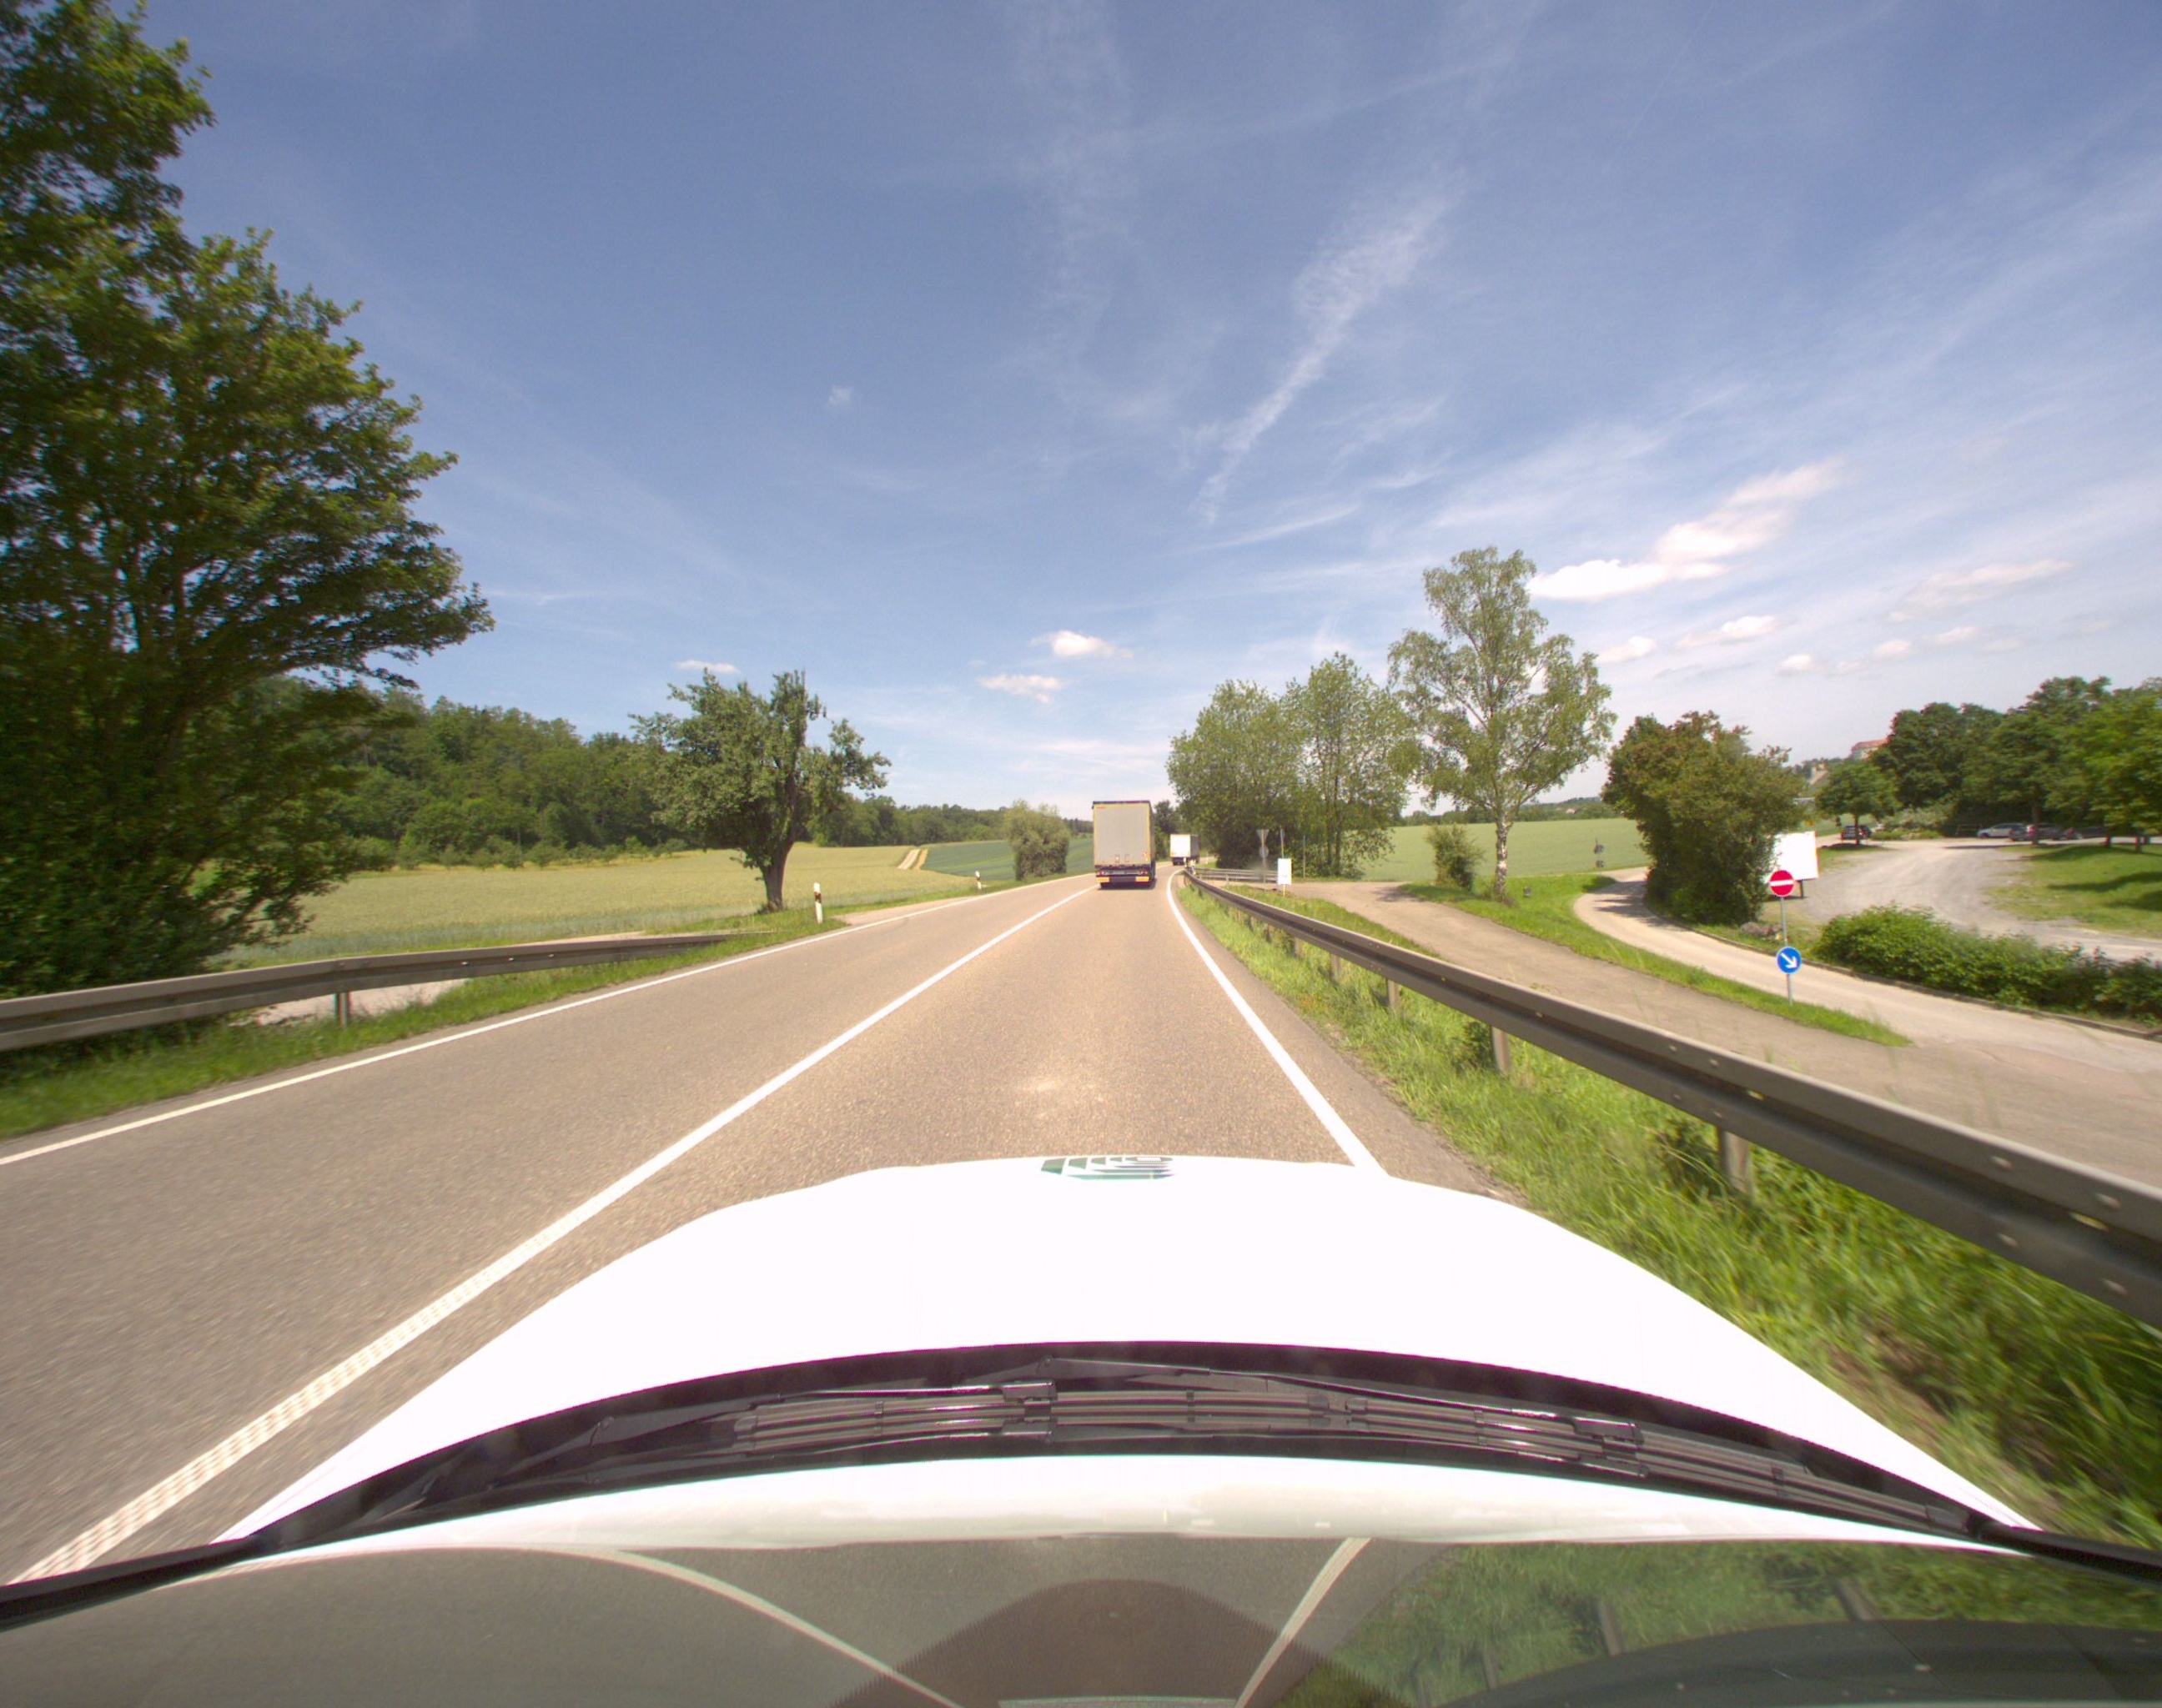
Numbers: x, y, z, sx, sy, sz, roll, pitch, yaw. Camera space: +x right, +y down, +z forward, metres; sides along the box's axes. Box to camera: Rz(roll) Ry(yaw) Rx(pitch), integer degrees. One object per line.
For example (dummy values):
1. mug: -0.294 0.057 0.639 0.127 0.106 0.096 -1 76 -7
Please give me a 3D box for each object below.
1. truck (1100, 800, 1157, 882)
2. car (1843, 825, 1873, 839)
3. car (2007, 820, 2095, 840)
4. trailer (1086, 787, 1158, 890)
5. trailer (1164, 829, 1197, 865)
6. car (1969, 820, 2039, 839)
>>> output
1. truck: 2.931 -0.699 48.758 3.104 4.494 6.820 -1 0 5
2. car: 91.068 -2.594 95.422 4.466 1.408 1.819 -3 -1 -37
3. car: 86.668 -2.129 72.888 1.987 1.703 4.934 -2 1 0
4. trailer: 2.404 -0.680 42.980 3.103 4.500 13.905 -1 0 5
5. trailer: 13.507 -0.761 109.476 3.344 4.317 13.904 -2 -1 11
6. car: 89.806 -2.327 79.293 1.994 1.542 3.984 -1 -2 -11
